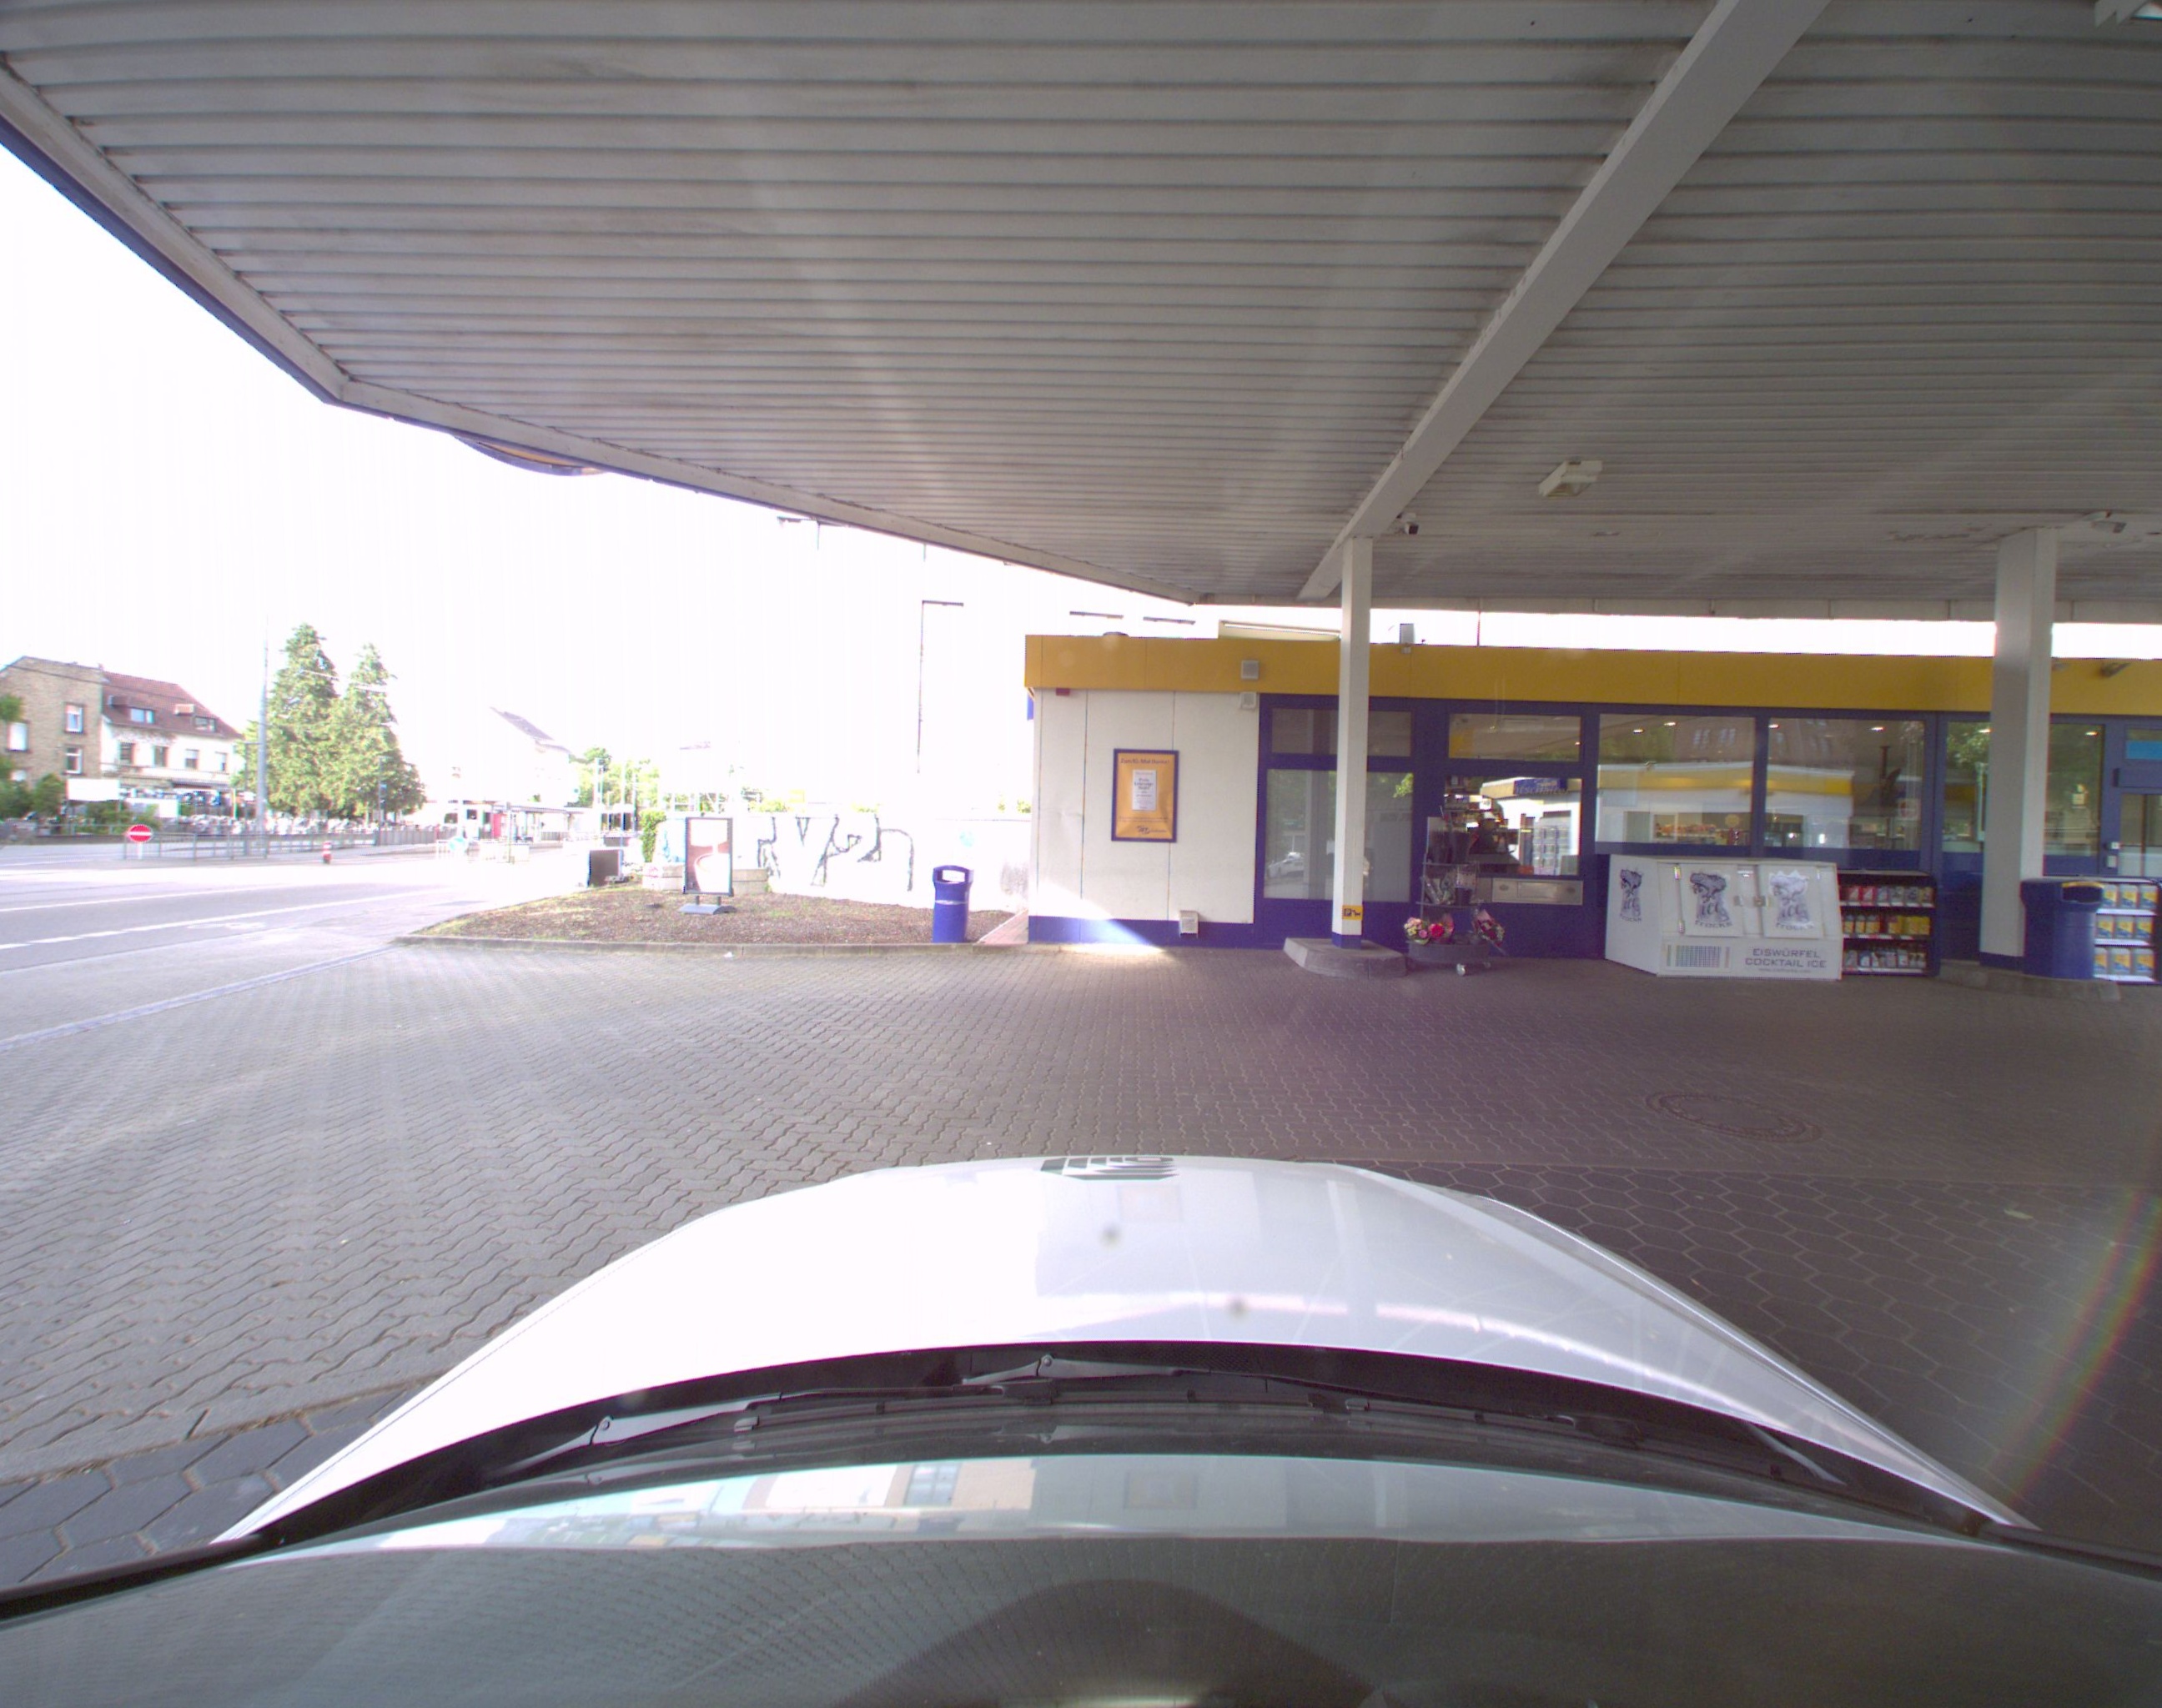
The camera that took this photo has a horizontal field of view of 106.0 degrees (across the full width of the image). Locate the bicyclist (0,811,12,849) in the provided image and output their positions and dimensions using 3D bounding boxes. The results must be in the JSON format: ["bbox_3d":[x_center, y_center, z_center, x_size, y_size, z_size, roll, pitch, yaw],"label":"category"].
[{"bbox_3d":[-41.081,-0.926,30.549,0.752,1.409,0.915,5,0,-20],"label":"bicyclist"}]

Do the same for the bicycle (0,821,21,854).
[{"bbox_3d":[-41.083,-0.614,30.512,0.752,1.203,1.809,5,0,-20],"label":"bicycle"}]

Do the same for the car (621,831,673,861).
[{"bbox_3d":[-24.046,-0.466,45.212,1.670,1.547,3.692,2,1,-15],"label":"car"}]
